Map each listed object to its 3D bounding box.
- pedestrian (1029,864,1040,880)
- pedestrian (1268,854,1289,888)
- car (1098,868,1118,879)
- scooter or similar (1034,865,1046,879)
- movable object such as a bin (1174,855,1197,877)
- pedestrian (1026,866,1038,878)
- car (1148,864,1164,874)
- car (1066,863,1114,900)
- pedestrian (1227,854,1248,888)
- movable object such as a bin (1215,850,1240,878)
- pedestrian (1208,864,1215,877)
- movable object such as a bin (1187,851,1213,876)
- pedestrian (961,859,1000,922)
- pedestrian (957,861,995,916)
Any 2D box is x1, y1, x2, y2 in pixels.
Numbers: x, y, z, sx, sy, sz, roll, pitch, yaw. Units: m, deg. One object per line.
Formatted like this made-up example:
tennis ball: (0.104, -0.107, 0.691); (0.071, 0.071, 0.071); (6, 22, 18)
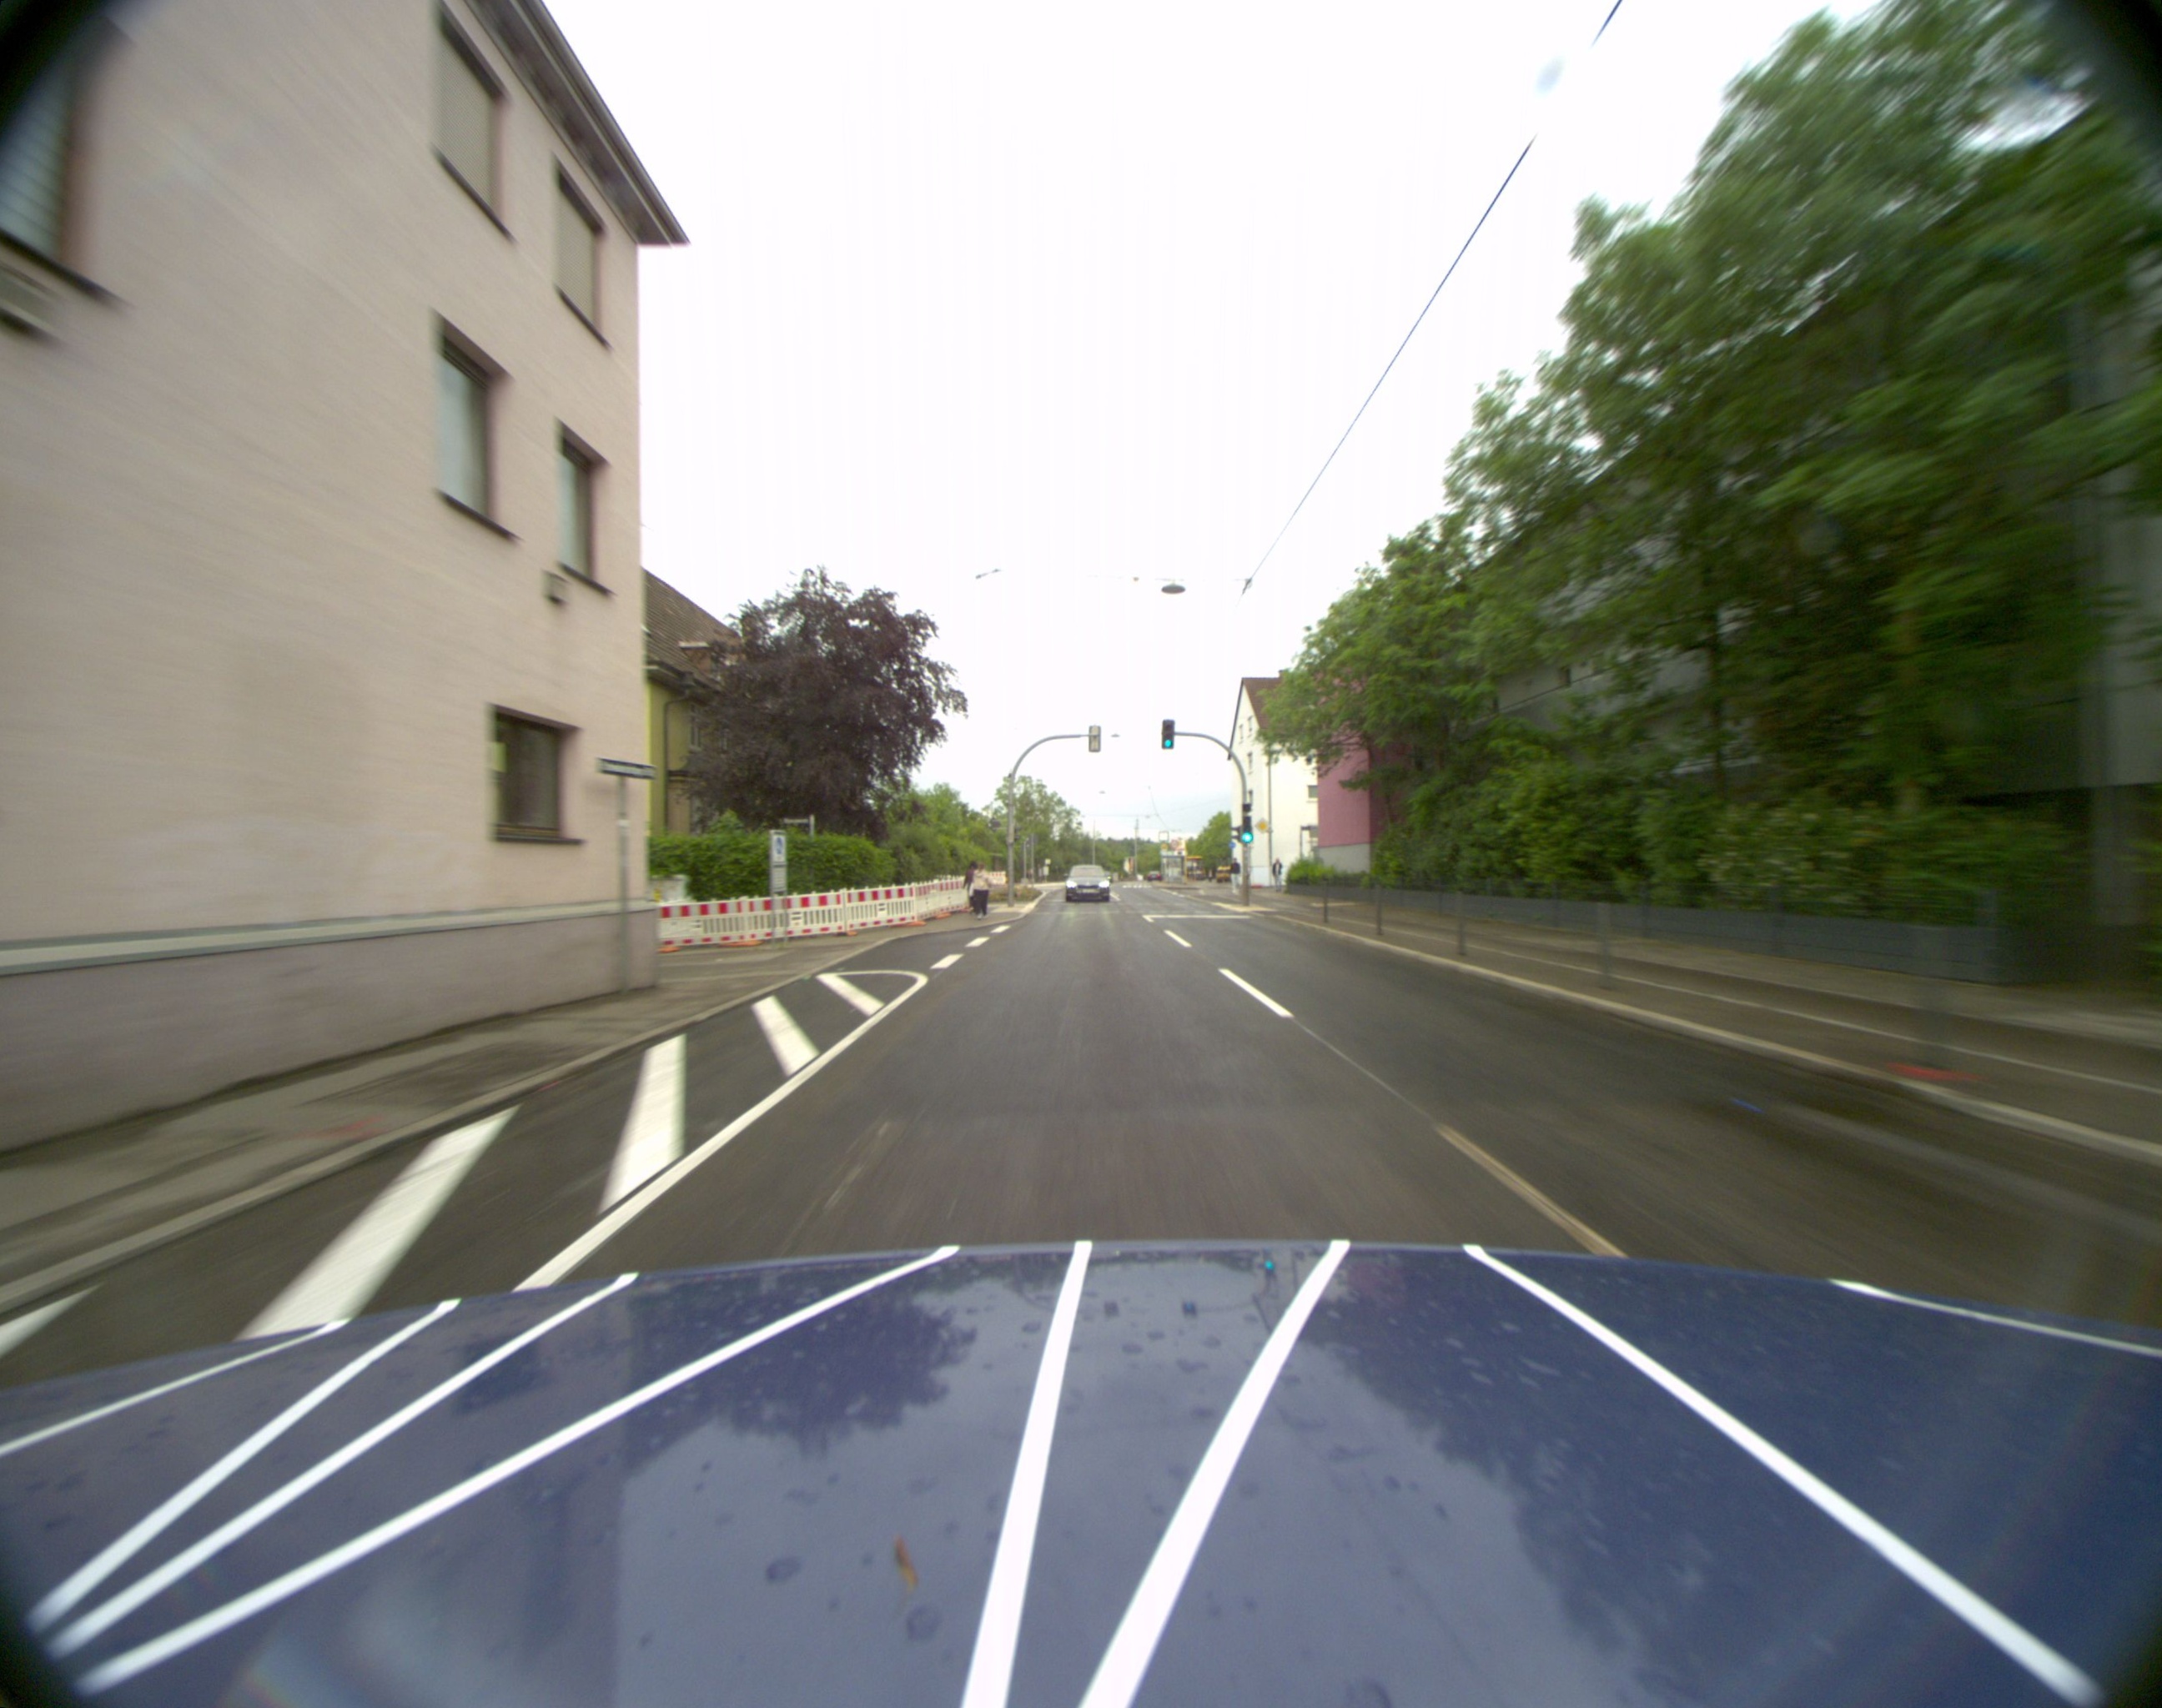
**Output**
pedestrian: (-4.548, 1.787, 73.939); (0.922, 1.537, 0.543); (0, 0, -32)
pedestrian: (10.589, 0.911, 40.785); (0.808, 1.810, 1.116); (-2, -1, 0)
car: (3.301, 2.359, 92.339); (1.604, 1.294, 3.718); (-2, -2, 14)
scooter or similar: (-4.005, 1.776, 73.995); (1.245, 1.307, 0.231); (0, -1, -34)
movable object such as a bin: (15.222, 1.738, 110.196); (2.828, 3.093, 4.639); (-1, -2, 13)
pedestrian: (-5.362, 1.996, 83.099); (1.070, 1.321, 0.808); (0, 0, -32)
car: (10.585, 2.073, 106.754); (1.786, 1.444, 4.395); (-1, -1, 12)
car: (0.358, 1.123, 31.681); (1.837, 1.429, 4.001); (-1, -1, 0)
pedestrian: (8.619, 0.933, 41.864); (0.864, 1.871, 1.044); (0, -1, -1)
movable object such as a bin: (15.099, 1.063, 78.236); (2.132, 2.789, 4.985); (-3, -2, 15)
pedestrian: (14.758, 1.860, 85.878); (0.603, 1.519, 1.039); (-2, -2, 11)
movable object such as a bin: (19.690, 1.605, 125.663); (2.952, 3.820, 8.140); (-1, -1, 18)
pedestrian: (-2.744, 0.988, 20.869); (0.785, 1.632, 1.222); (-2, 1, 4)
pedestrian: (-3.113, 1.018, 22.606); (0.877, 1.551, 1.049); (-2, 1, 4)
